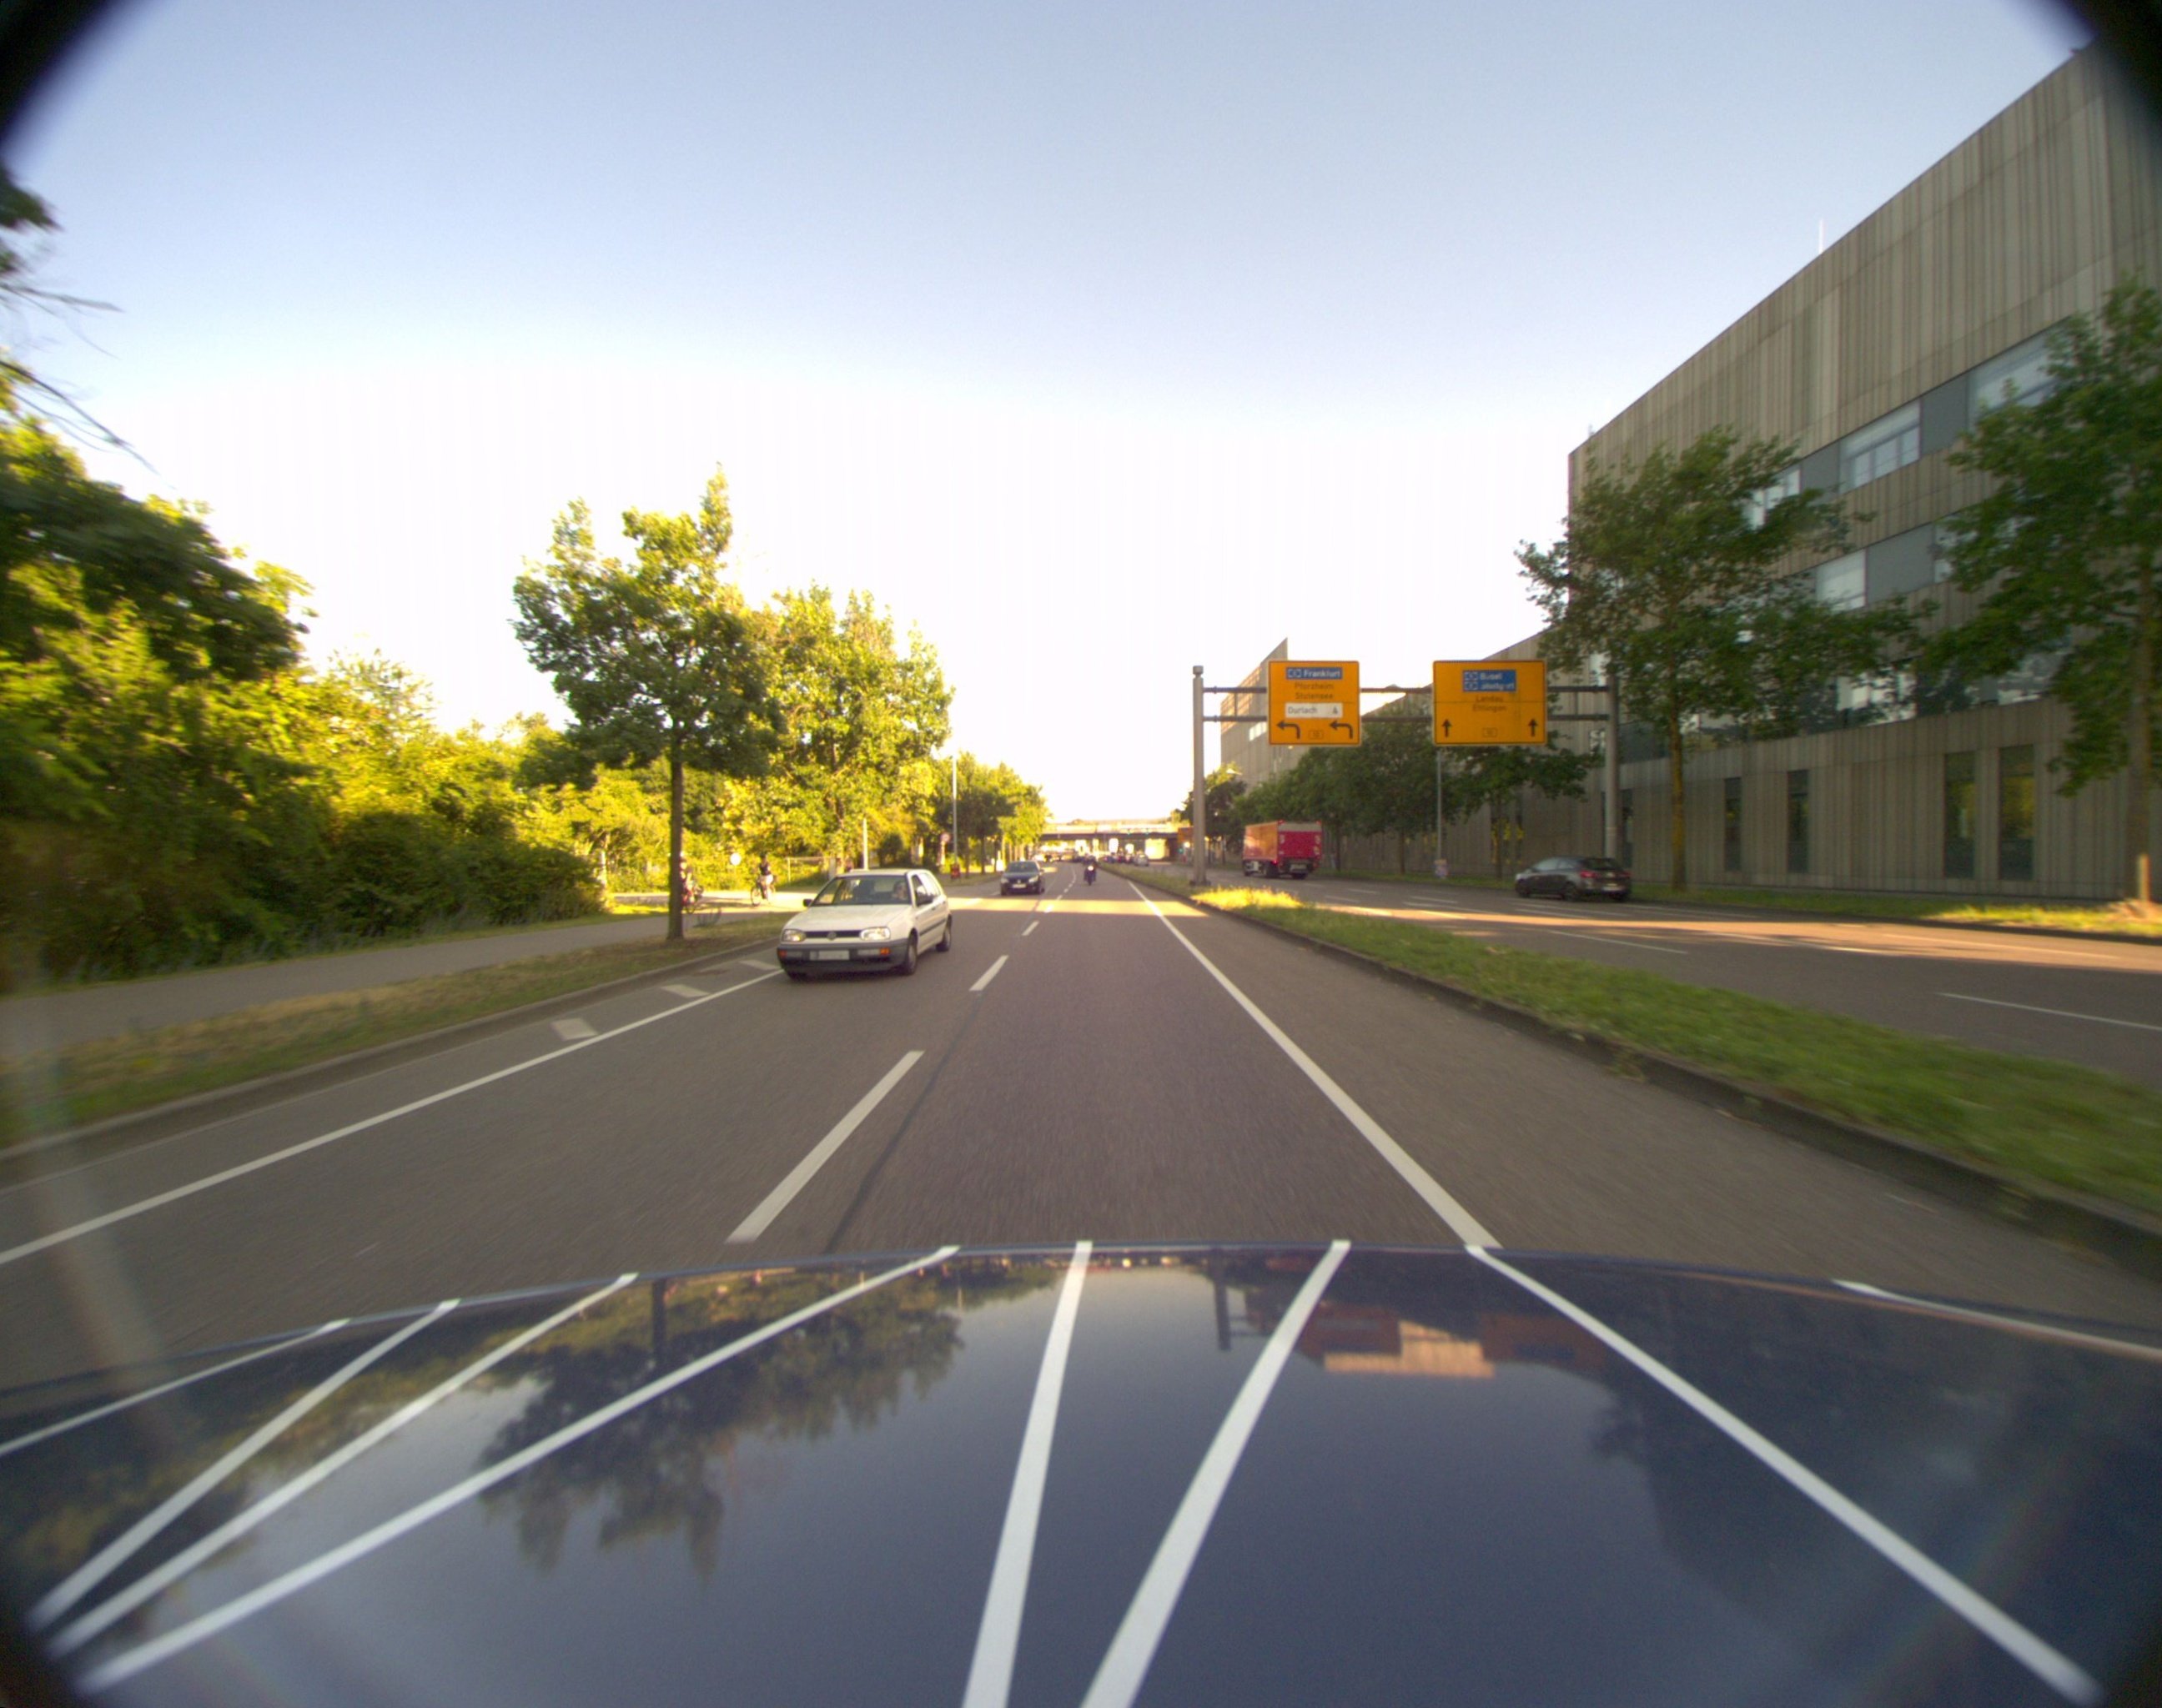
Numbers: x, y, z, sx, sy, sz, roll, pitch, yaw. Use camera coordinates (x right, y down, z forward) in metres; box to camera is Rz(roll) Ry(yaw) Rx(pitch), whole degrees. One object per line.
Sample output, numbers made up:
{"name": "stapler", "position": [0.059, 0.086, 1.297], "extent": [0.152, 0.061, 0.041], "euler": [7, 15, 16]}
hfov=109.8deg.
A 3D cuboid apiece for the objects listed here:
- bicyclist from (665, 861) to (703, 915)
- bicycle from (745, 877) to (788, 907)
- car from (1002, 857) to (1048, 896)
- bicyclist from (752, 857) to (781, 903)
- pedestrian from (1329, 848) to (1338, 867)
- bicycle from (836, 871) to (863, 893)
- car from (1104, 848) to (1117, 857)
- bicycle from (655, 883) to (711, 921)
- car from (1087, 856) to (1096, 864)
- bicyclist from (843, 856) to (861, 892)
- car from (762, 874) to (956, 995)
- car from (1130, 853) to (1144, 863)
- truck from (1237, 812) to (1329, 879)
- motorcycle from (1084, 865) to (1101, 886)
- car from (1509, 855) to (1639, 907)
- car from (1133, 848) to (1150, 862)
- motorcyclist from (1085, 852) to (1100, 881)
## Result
{"name": "bicyclist", "position": [-11.501, 0.969, 22.028], "extent": [0.614, 1.493, 0.848], "euler": [-1, 1, 1]}
{"name": "bicycle", "position": [-11.155, 1.332, 26.987], "extent": [0.618, 0.968, 2.058], "euler": [-1, 0, 1]}
{"name": "car", "position": [-2.346, 0.922, 32.653], "extent": [1.726, 1.490, 4.213], "euler": [-2, 0, -2]}
{"name": "bicyclist", "position": [-11.167, 0.911, 26.985], "extent": [0.604, 1.569, 0.848], "euler": [-1, 1, 1]}
{"name": "pedestrian", "position": [24.050, 0.331, 72.460], "extent": [0.604, 1.757, 0.649], "euler": [-1, 1, 0]}
{"name": "bicycle", "position": [-11.232, 1.352, 36.959], "extent": [0.618, 0.968, 2.058], "euler": [-1, 0, 1]}
{"name": "car", "position": [5.023, -0.250, 129.230], "extent": [1.841, 1.510, 3.951], "euler": [0, 0, -2]}
{"name": "bicycle", "position": [-11.497, 1.373, 22.010], "extent": [0.618, 0.968, 1.822], "euler": [-1, 0, 1]}
{"name": "car", "position": [2.073, 1.115, 146.577], "extent": [1.696, 1.425, 3.771], "euler": [0, 0, -1]}
{"name": "bicyclist", "position": [-11.232, 0.970, 37.297], "extent": [0.604, 1.723, 0.848], "euler": [-1, 1, 1]}
{"name": "car", "position": [-3.064, 1.044, 11.353], "extent": [1.615, 1.390, 4.039], "euler": [-1, -1, 1]}
{"name": "car", "position": [8.873, 0.570, 120.705], "extent": [1.930, 1.510, 3.999], "euler": [0, 0, -1]}
{"name": "truck", "position": [12.715, -0.500, 48.888], "extent": [3.006, 3.789, 10.087], "euler": [-1, 0, -1]}
{"name": "motorcycle", "position": [0.571, 1.084, 39.181], "extent": [0.749, 0.977, 2.140], "euler": [-1, 1, -2]}
{"name": "car", "position": [15.729, 0.802, 24.489], "extent": [1.600, 1.504, 3.866], "euler": [-1, 0, -2]}
{"name": "car", "position": [8.360, 0.119, 105.220], "extent": [1.998, 1.805, 4.401], "euler": [0, 0, 1]}
{"name": "motorcyclist", "position": [0.586, 0.631, 39.030], "extent": [0.734, 1.503, 0.919], "euler": [0, 1, -2]}
